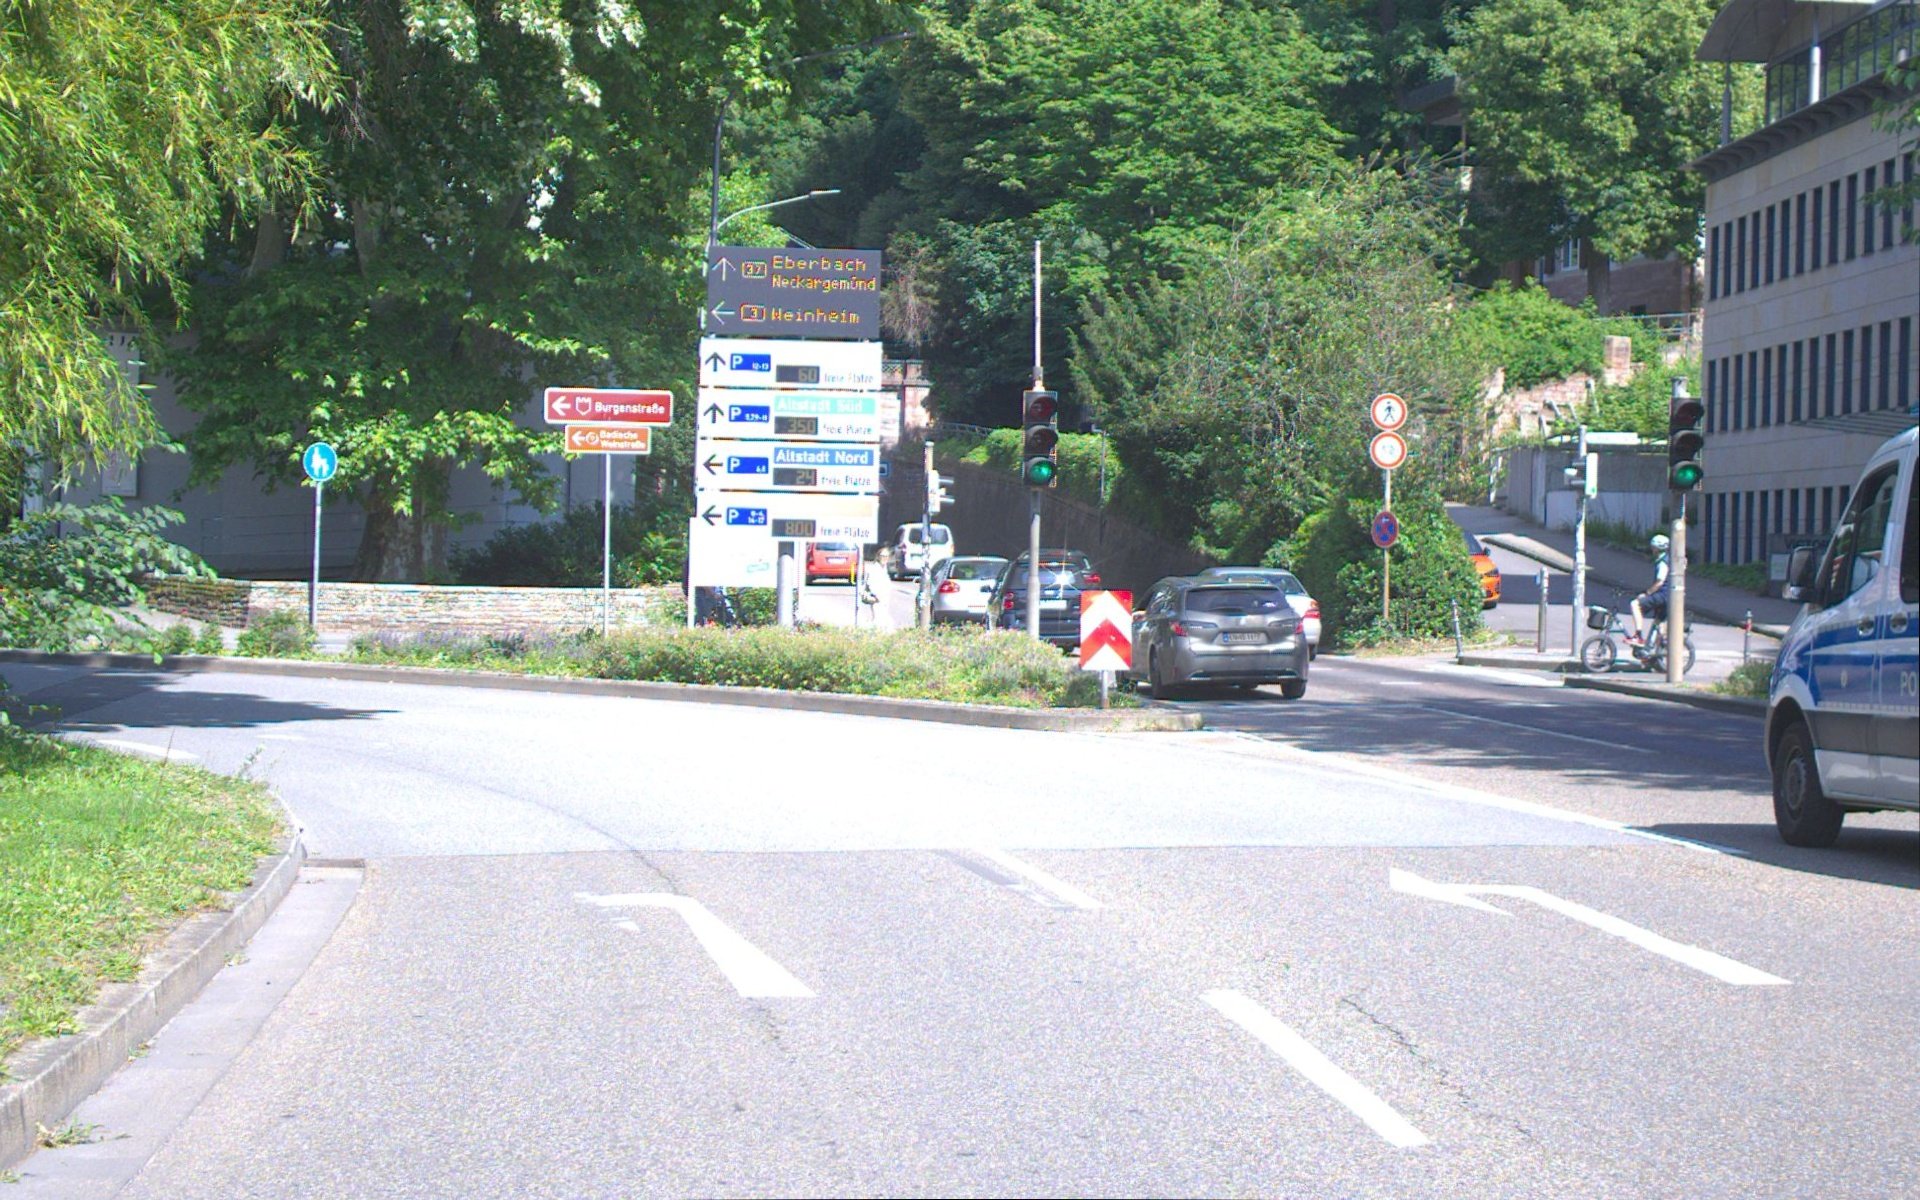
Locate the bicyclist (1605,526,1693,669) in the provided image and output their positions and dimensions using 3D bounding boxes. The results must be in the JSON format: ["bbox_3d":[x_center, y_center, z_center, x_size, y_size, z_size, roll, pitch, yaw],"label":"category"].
[{"bbox_3d":[9.513,-0.038,47.512,1.126,1.926,0.748,1,0,10],"label":"bicyclist"}]

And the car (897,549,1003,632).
[{"bbox_3d":[-0.216,-0.205,64.441,1.756,1.456,3.646,2,1,-3],"label":"car"}]

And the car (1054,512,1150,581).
[{"bbox_3d":[3.154,-1.206,77.103,1.756,1.456,3.646,2,1,-3],"label":"car"}]

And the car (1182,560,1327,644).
[{"bbox_3d":[4.588,0.010,53.948,1.756,1.209,3.494,2,1,-3],"label":"car"}]

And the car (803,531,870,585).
[{"bbox_3d":[-3.493,-1.194,96.706,1.756,1.456,3.494,2,1,-3],"label":"car"}]

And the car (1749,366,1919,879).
[{"bbox_3d":[5.701,0.130,17.055,2.073,2.500,4.930,2,0,-4],"label":"car"}]

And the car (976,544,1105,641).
[{"bbox_3d":[1.261,-0.143,55.103,1.756,1.456,3.494,2,1,-3],"label":"car"}]

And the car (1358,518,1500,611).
[{"bbox_3d":[8.875,-0.669,65.372,1.931,1.691,4.001,1,0,-3],"label":"car"}]

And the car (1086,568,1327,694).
[{"bbox_3d":[2.850,0.332,40.631,1.755,1.329,3.803,1,1,-13],"label":"car"}]

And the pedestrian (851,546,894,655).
[{"bbox_3d":[-1.305,0.000,51.344,0.547,1.615,0.634,1,1,6],"label":"pedestrian"}]

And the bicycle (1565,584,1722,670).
[{"bbox_3d":[9.443,0.365,47.529,2.077,1.109,0.756,1,1,9],"label":"bicycle"}]

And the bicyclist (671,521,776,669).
[{"bbox_3d":[-3.132,-0.069,45.552,1.127,1.926,0.747,2,0,22],"label":"bicyclist"}]

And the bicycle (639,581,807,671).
[{"bbox_3d":[-3.148,0.336,45.566,2.079,1.109,0.756,2,1,22],"label":"bicycle"}]

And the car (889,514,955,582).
[{"bbox_3d":[-1.154,-1.564,102.485,1.756,1.931,3.494,2,1,-3],"label":"car"}]
